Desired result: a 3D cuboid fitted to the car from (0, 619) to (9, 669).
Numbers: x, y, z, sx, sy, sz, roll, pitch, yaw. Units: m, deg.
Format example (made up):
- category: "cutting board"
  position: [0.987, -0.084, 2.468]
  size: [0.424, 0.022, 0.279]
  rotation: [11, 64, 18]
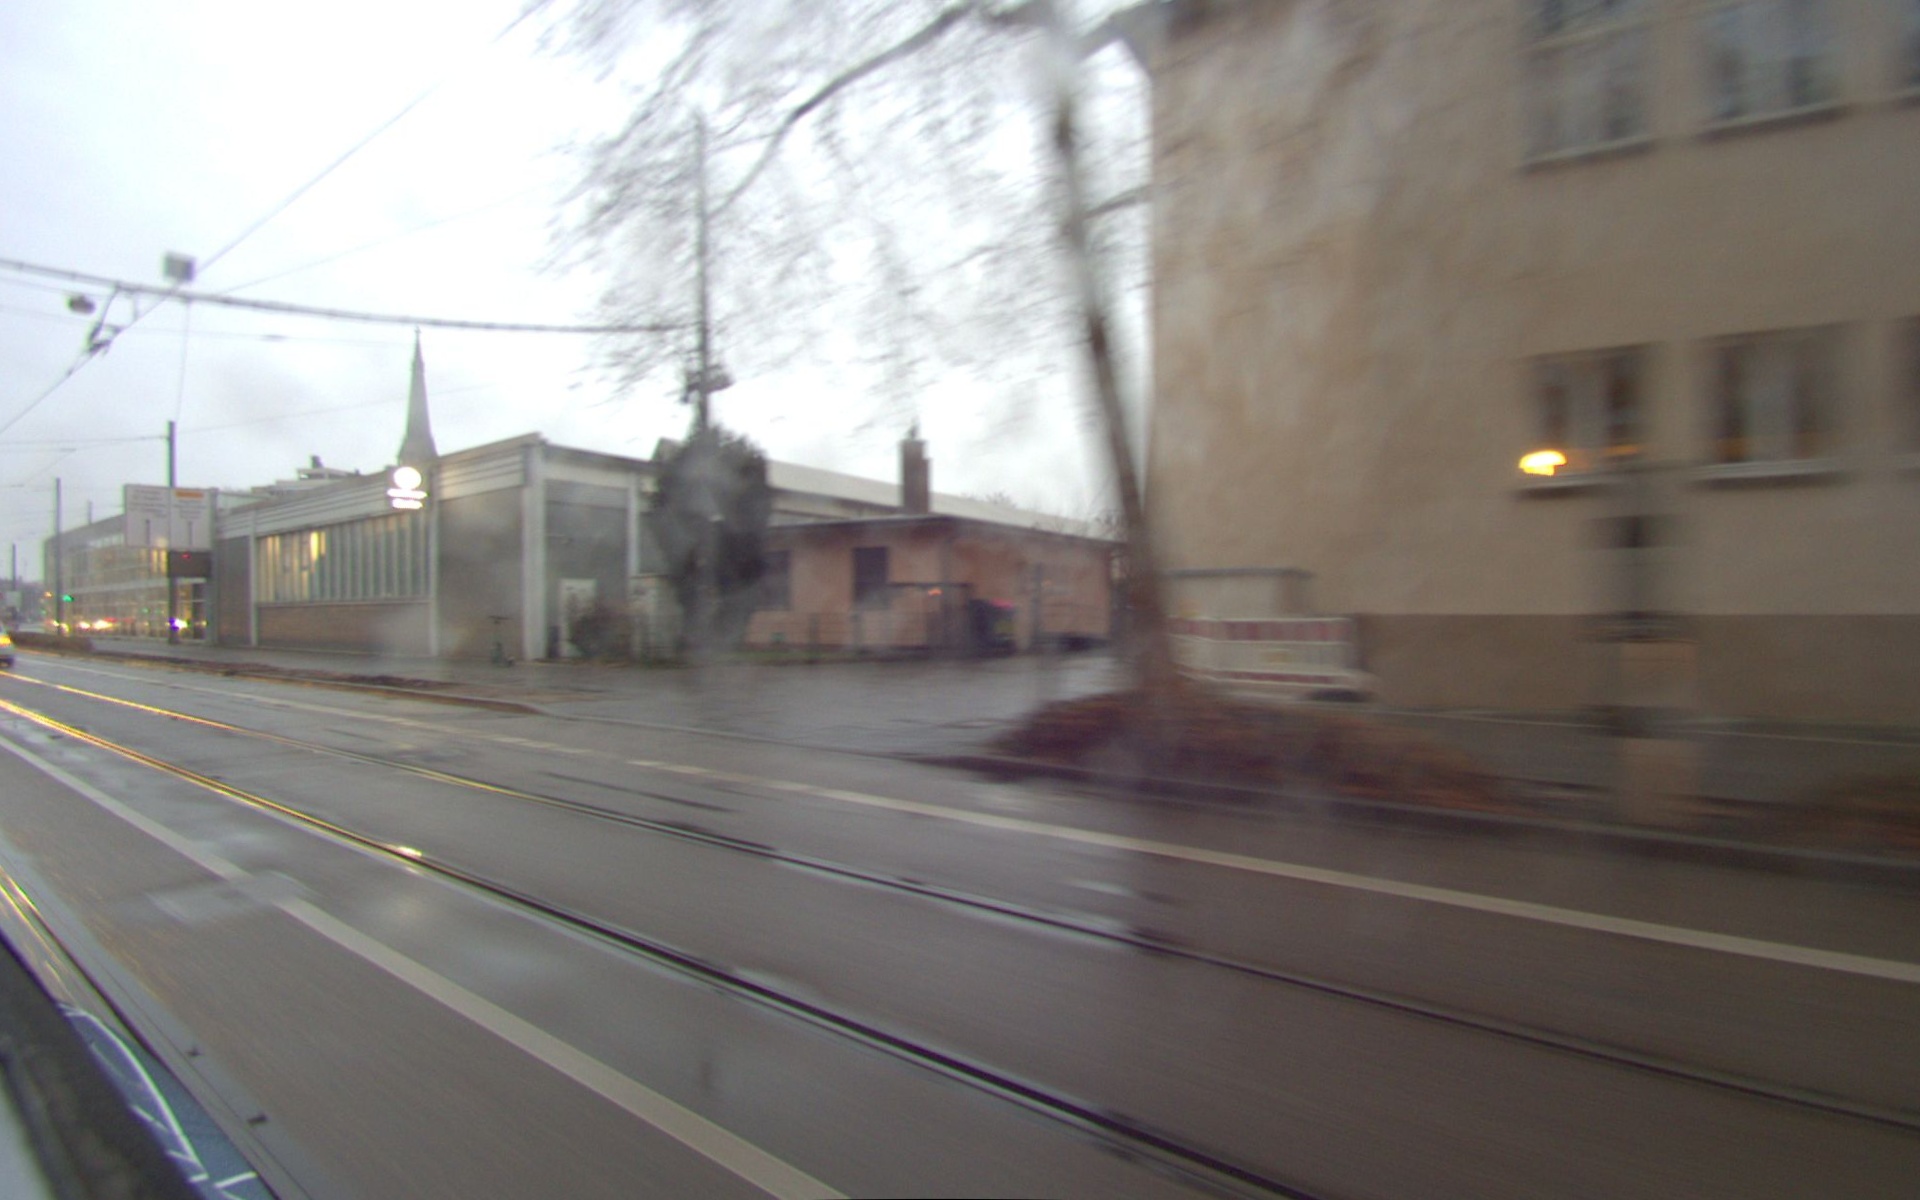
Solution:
- category: "car"
  position: [-30.463, 1.338, 31.050]
  size: [3.559, 1.493, 1.514]
  rotation: [-1, 0, 41]
